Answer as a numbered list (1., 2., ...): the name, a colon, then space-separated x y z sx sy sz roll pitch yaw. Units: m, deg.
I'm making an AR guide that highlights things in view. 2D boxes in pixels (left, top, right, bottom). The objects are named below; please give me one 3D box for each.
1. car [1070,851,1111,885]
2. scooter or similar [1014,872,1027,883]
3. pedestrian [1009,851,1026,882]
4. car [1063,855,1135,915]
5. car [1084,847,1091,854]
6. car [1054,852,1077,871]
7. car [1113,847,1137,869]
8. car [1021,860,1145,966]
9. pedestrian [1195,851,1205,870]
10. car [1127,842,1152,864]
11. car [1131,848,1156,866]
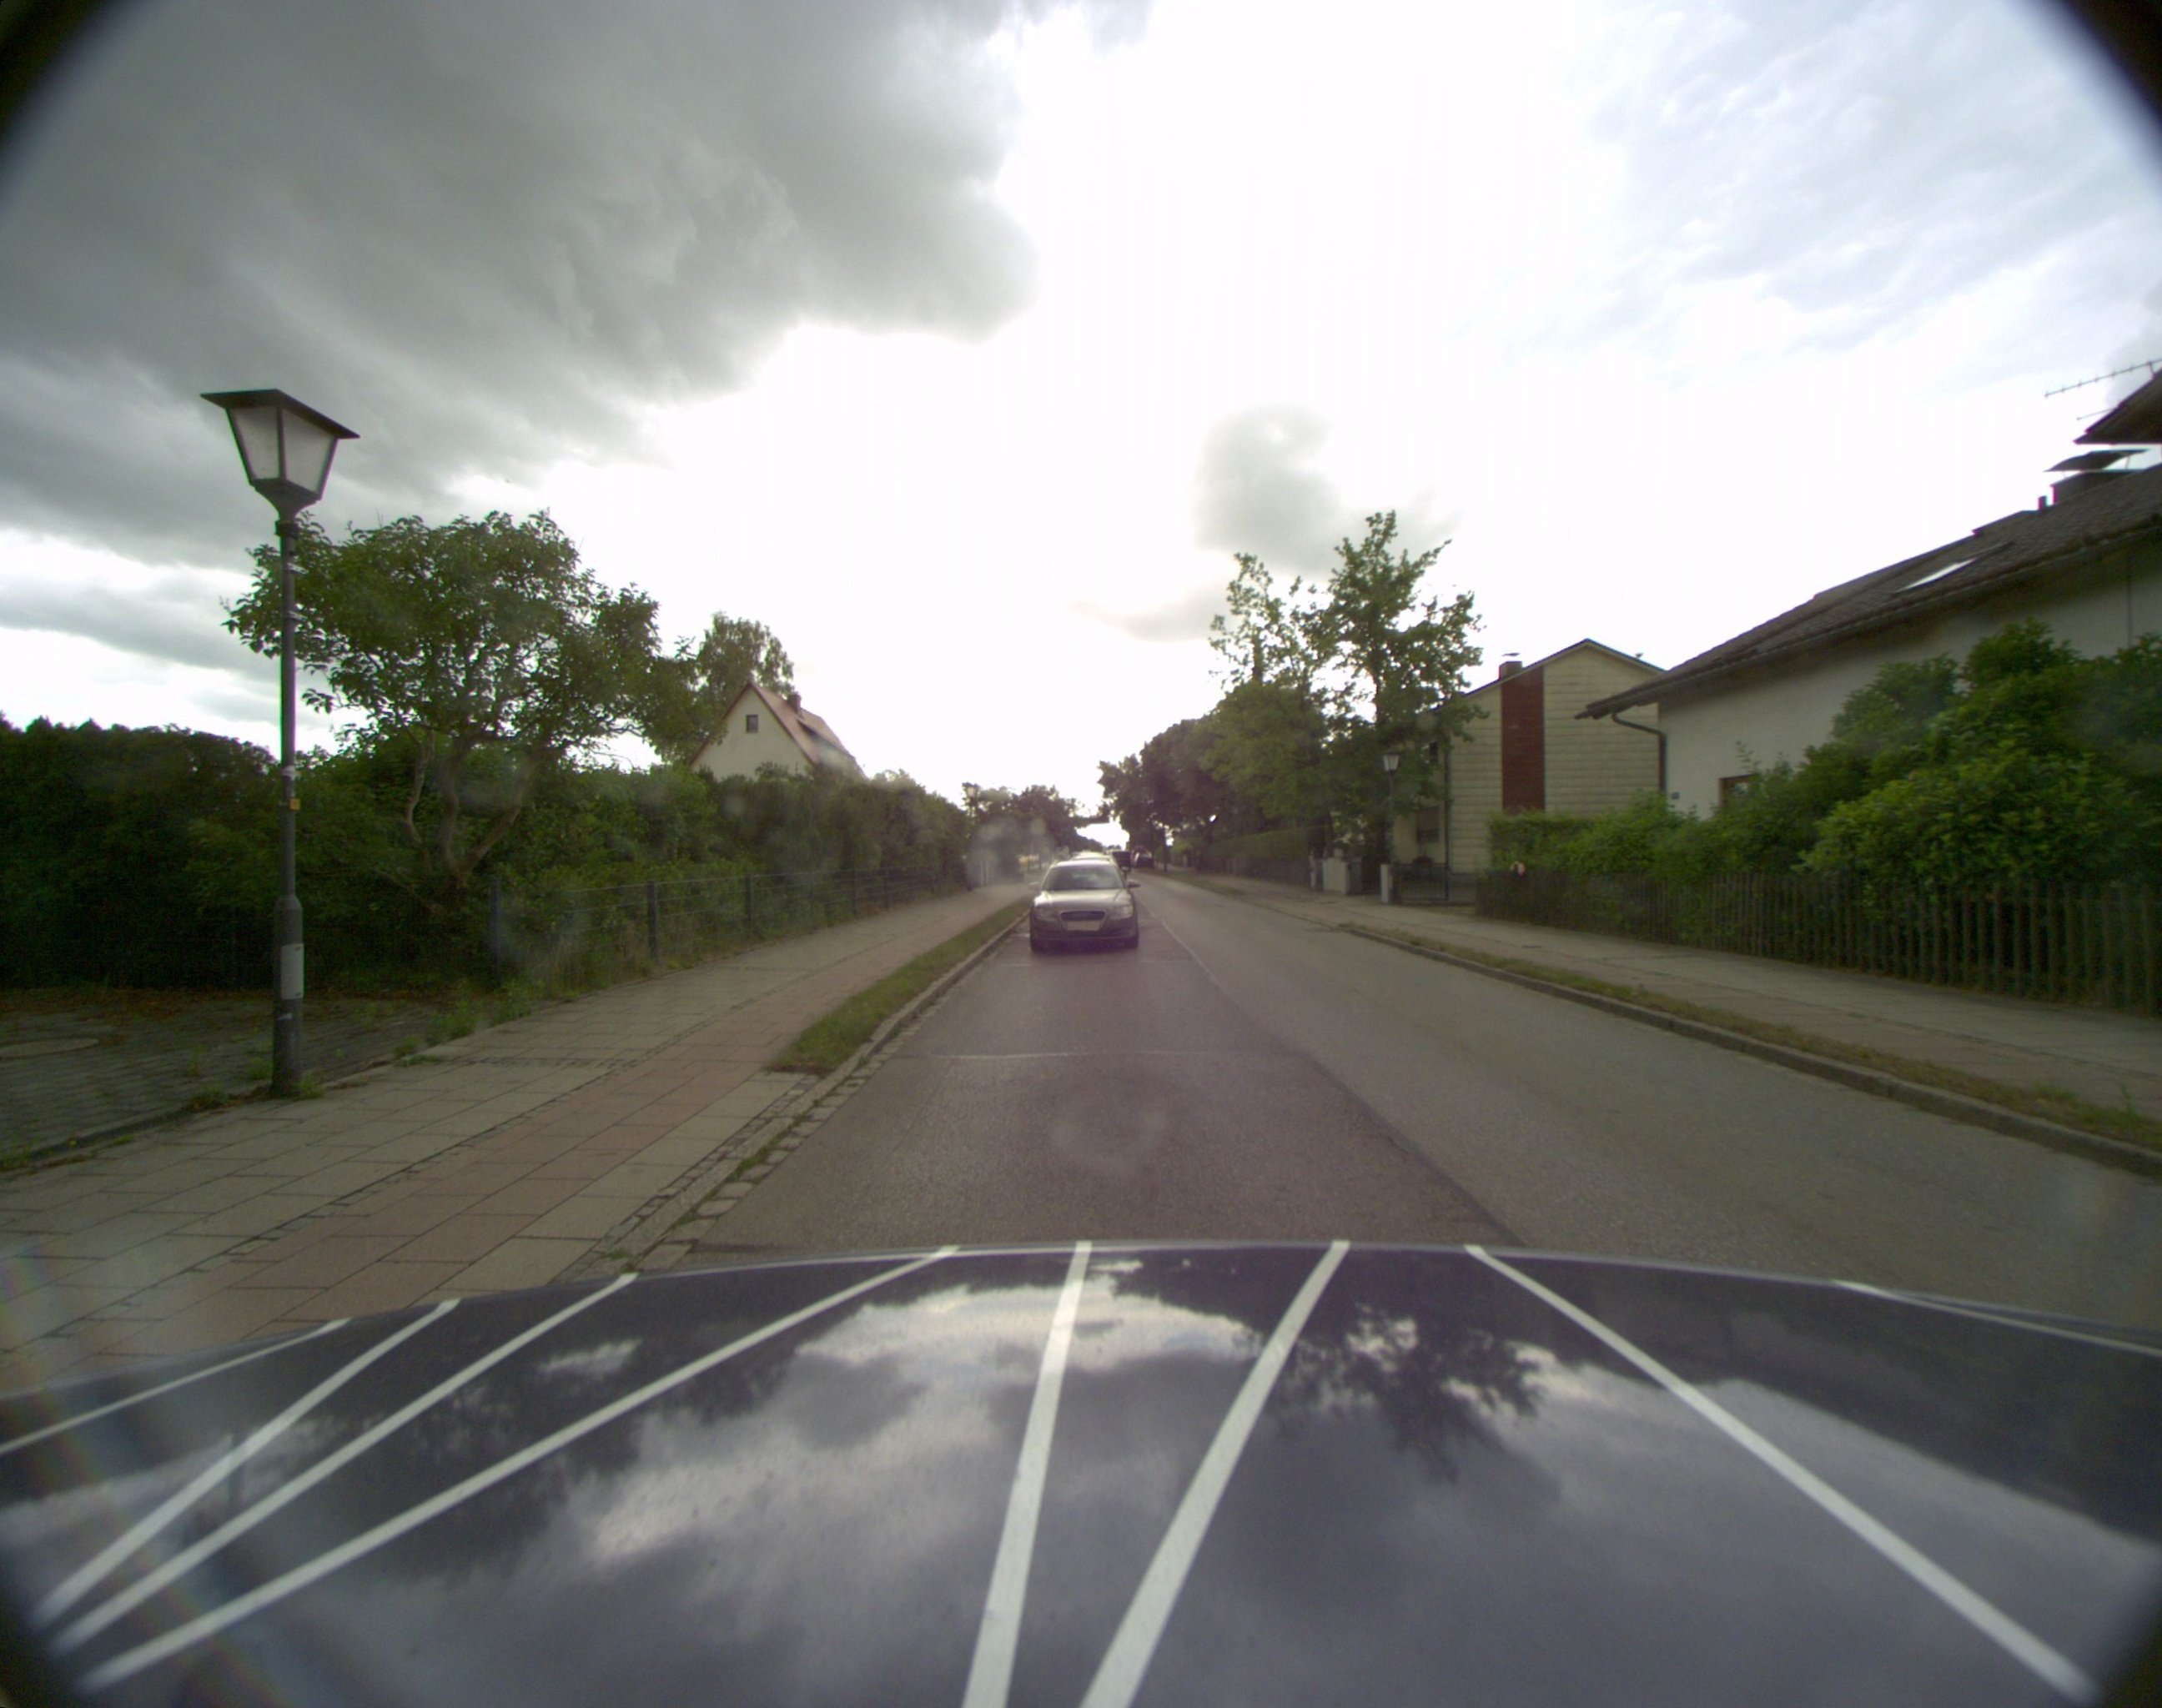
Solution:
1. car: 0.469 0.646 37.616 1.866 1.518 4.122 -1 0 1
2. scooter or similar: -3.082 1.205 38.742 0.618 0.553 0.742 -1 0 -2
3. pedestrian: -3.298 0.626 39.367 0.792 1.592 0.671 -1 1 -2
4. car: 0.492 0.810 22.412 1.866 1.518 4.943 -1 0 1
5. car: 1.934 -1.079 216.435 1.998 2.002 4.000 -1 0 1
6. car: -1.294 0.586 64.688 1.866 1.518 4.122 -1 0 -1
7. car: 3.928 0.341 67.797 1.969 1.842 4.948 -1 0 2
8. car: 0.049 0.895 13.418 1.809 1.476 4.270 -1 0 1
9. pedestrian: 9.098 0.488 58.175 0.631 1.429 0.563 -1 1 1
10. car: 6.321 -0.103 82.759 2.246 2.258 4.469 -1 0 -2
11. car: 6.298 0.248 76.920 1.999 1.739 3.999 -1 0 -2
